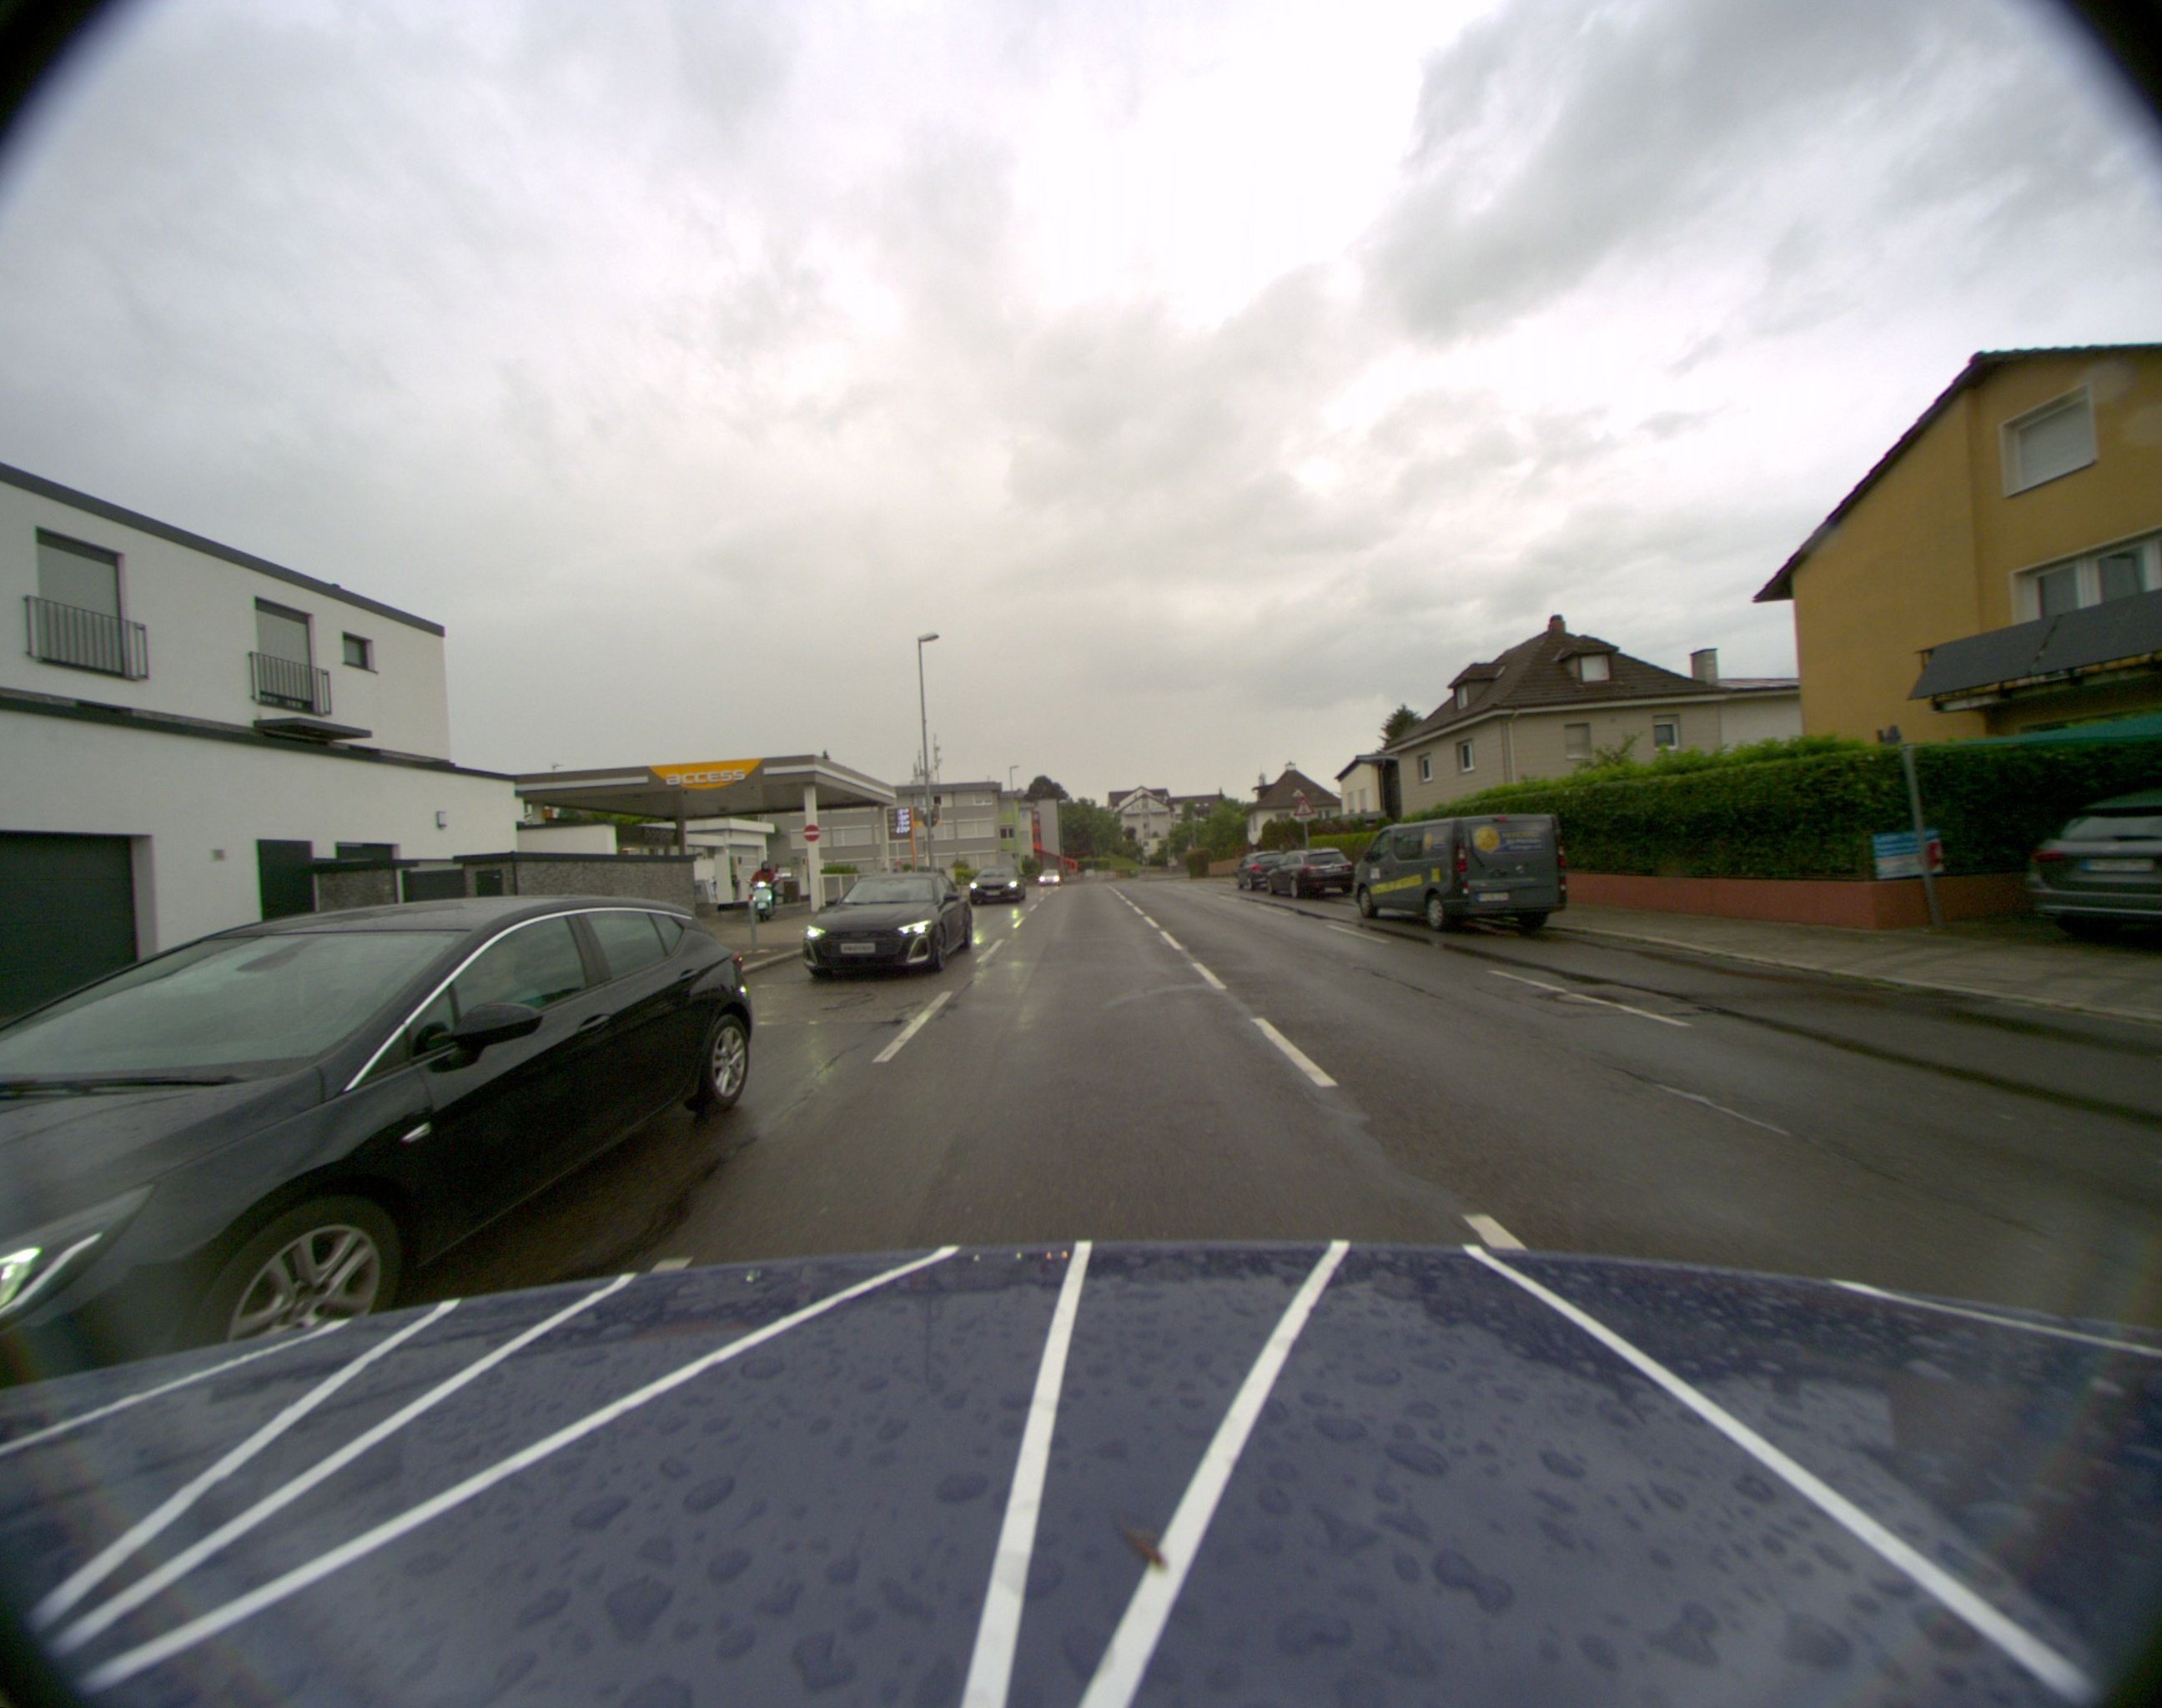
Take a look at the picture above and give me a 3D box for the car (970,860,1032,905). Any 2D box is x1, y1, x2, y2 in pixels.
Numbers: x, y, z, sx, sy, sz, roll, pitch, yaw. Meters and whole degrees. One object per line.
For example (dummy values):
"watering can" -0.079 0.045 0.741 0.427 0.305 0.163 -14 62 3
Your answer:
"car" -3.104 1.082 30.217 1.872 1.510 4.000 -3 0 1

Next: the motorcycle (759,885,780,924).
"motorcycle" -9.212 1.465 22.490 0.464 1.049 1.388 -3 1 -20

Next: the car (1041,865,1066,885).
"car" -2.490 1.921 69.873 1.998 1.647 4.000 -3 0 2

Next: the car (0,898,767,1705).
"car" -3.109 1.077 3.181 1.760 1.441 4.000 -3 0 1

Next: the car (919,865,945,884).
"car" -12.356 1.701 63.231 1.815 1.518 3.997 0 0 -7

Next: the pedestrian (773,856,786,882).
"pedestrian" -23.578 1.186 59.426 0.718 2.002 0.614 -3 1 -12

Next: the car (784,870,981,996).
"car" -2.889 1.074 12.236 1.871 1.416 4.738 -3 0 0

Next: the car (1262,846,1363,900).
"car" 7.399 0.562 24.808 1.755 1.508 4.526 -3 0 -1

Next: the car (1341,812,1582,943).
"car" 6.943 0.368 14.662 1.918 1.991 5.086 -3 0 -1

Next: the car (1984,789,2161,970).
"car" 12.015 0.078 7.408 3.969 1.604 1.918 -6 1 1

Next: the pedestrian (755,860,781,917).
"pedestrian" -9.330 1.027 22.671 0.612 1.646 0.584 -3 1 -20

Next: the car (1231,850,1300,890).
"car" 7.458 0.592 31.086 1.754 1.431 4.129 -3 0 1
